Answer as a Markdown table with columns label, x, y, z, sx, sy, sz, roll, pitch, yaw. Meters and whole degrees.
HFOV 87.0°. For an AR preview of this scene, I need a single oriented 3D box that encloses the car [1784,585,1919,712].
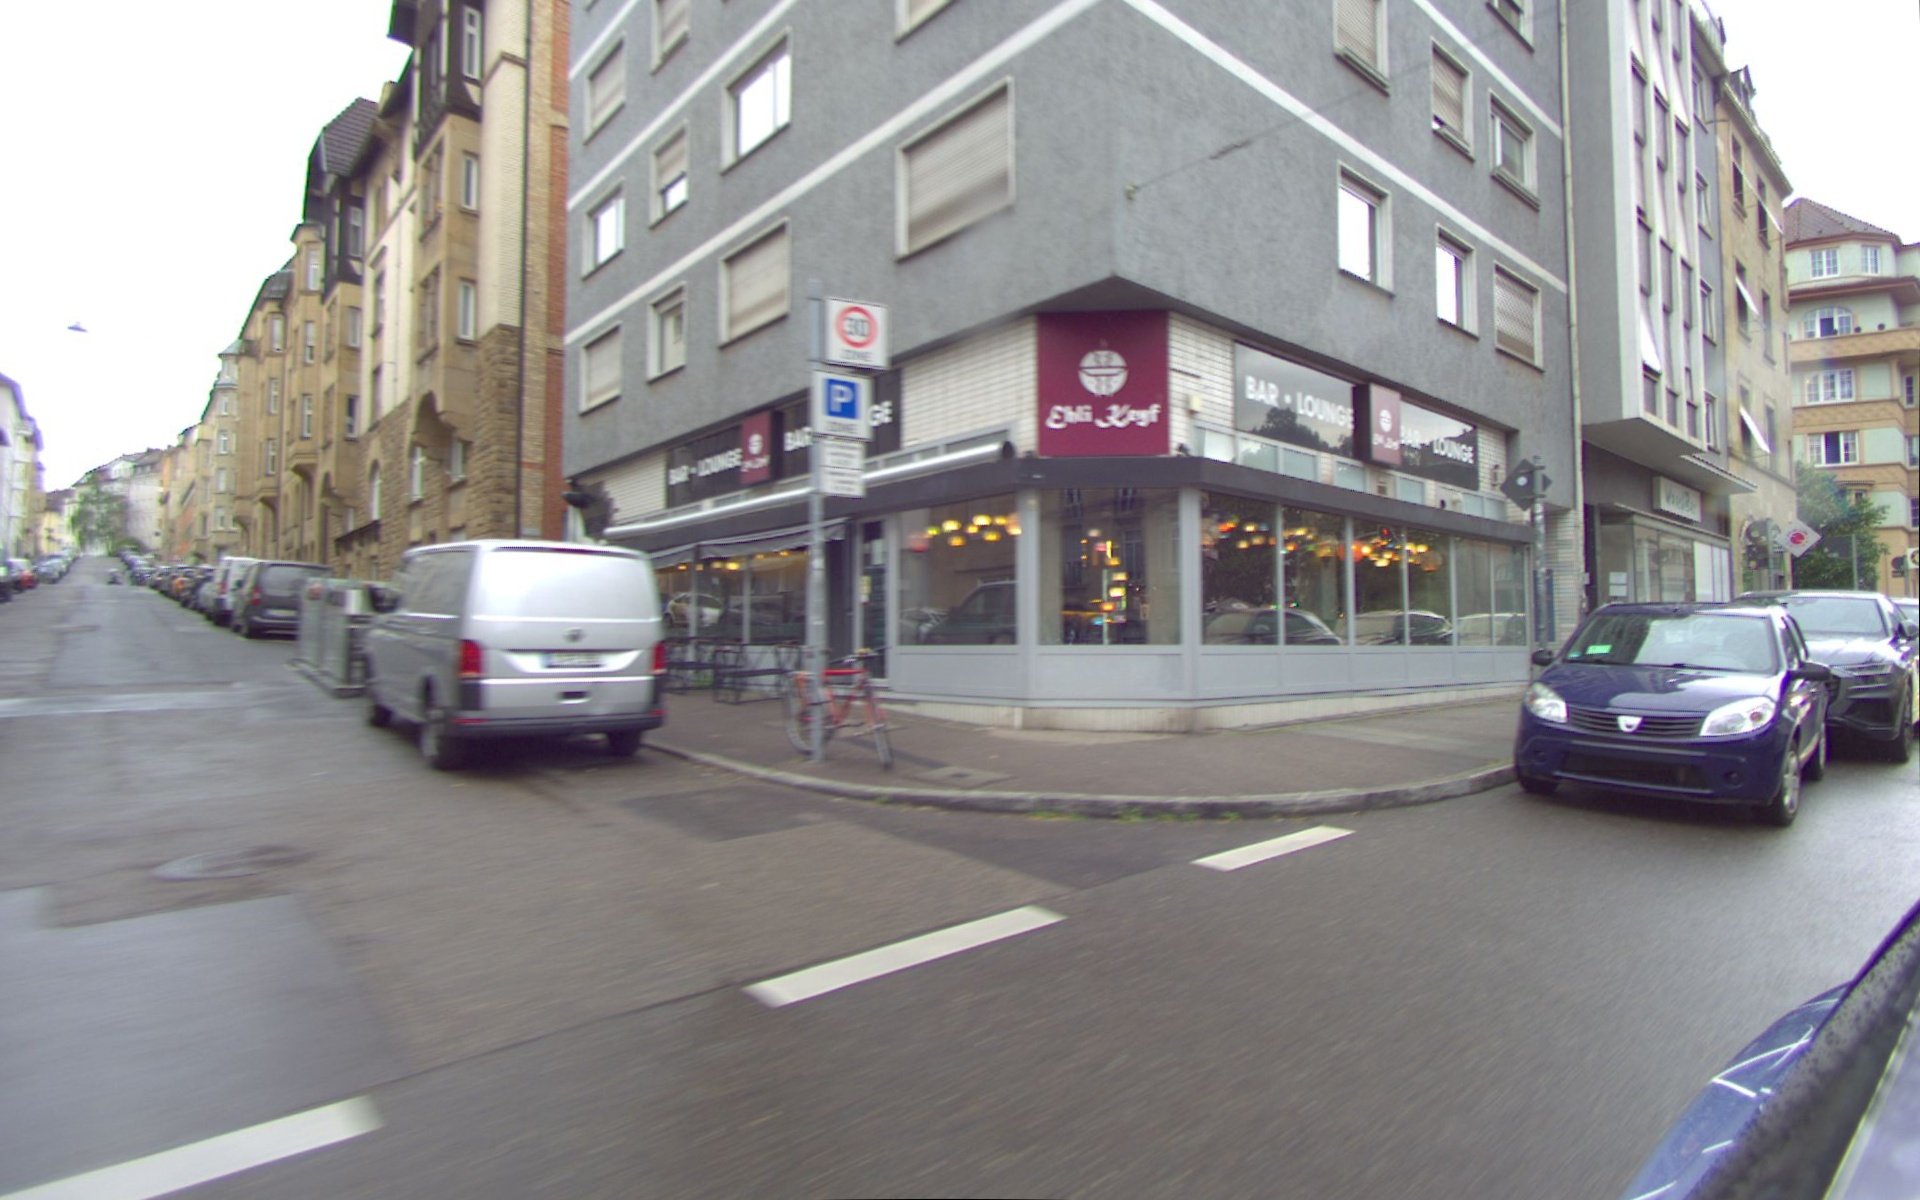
| label | x | y | z | sx | sy | sz | roll | pitch | yaw |
| --- | --- | --- | --- | --- | --- | --- | --- | --- | --- |
| car | 13.972 | 0.642 | 15.212 | 4.177 | 1.675 | 1.820 | 0 | 0 | -42 |

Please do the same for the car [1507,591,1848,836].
| label | x | y | z | sx | sy | sz | roll | pitch | yaw |
| --- | --- | --- | --- | --- | --- | --- | --- | --- | --- |
| car | 5.953 | 0.694 | 8.207 | 1.691 | 1.501 | 3.867 | 0 | 0 | 44 |

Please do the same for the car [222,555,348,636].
| label | x | y | z | sx | sy | sz | roll | pitch | yaw |
| --- | --- | --- | --- | --- | --- | --- | --- | --- | --- |
| car | -16.209 | -0.093 | 24.207 | 1.892 | 1.761 | 4.477 | 2 | -1 | -41 |

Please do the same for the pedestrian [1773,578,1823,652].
| label | x | y | z | sx | sy | sz | roll | pitch | yaw |
| --- | --- | --- | --- | --- | --- | --- | --- | --- | --- |
| pedestrian | 21.151 | 0.363 | 25.540 | 0.832 | 1.840 | 0.851 | 0 | 0 | -41 |

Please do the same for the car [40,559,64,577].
| label | x | y | z | sx | sy | sz | roll | pitch | yaw |
| --- | --- | --- | --- | --- | --- | --- | --- | --- | --- |
| car | -90.265 | -3.202 | 100.633 | 1.724 | 1.668 | 3.994 | 0 | 1 | -41 |

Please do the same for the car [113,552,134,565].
| label | x | y | z | sx | sy | sz | roll | pitch | yaw |
| --- | --- | --- | --- | --- | --- | --- | --- | --- | --- |
| car | -111.754 | -5.526 | 135.209 | 1.892 | 1.523 | 4.413 | 2 | -1 | -43 |

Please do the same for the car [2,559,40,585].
| label | x | y | z | sx | sy | sz | roll | pitch | yaw |
| --- | --- | --- | --- | --- | --- | --- | --- | --- | --- |
| car | -62.608 | -1.866 | 67.529 | 1.724 | 1.668 | 3.994 | 0 | 1 | -41 |

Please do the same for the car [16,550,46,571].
| label | x | y | z | sx | sy | sz | roll | pitch | yaw |
| --- | --- | --- | --- | --- | --- | --- | --- | --- | --- |
| car | -77.809 | -3.327 | 84.792 | 1.691 | 1.668 | 3.994 | 0 | 1 | -41 |

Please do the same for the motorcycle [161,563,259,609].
| label | x | y | z | sx | sy | sz | roll | pitch | yaw |
| --- | --- | --- | --- | --- | --- | --- | --- | --- | --- |
| motorcycle | -26.221 | -0.474 | 35.454 | 0.974 | 1.523 | 2.555 | 1 | -1 | 32 |

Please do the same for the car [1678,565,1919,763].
| label | x | y | z | sx | sy | sz | roll | pitch | yaw |
| --- | --- | --- | --- | --- | --- | --- | --- | --- | --- |
| car | 9.693 | 0.591 | 11.291 | 4.488 | 1.783 | 1.795 | 0 | -1 | -42 |

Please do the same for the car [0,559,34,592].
| label | x | y | z | sx | sy | sz | roll | pitch | yaw |
| --- | --- | --- | --- | --- | --- | --- | --- | --- | --- |
| car | -50.569 | -1.339 | 53.912 | 1.724 | 1.668 | 3.994 | 0 | 1 | -41 |

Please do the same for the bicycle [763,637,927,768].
| label | x | y | z | sx | sy | sz | roll | pitch | yaw |
| --- | --- | --- | --- | --- | --- | --- | --- | --- | --- |
| bicycle | -1.024 | 0.825 | 8.669 | 0.524 | 0.986 | 1.752 | 0 | -2 | -39 |

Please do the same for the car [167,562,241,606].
| label | x | y | z | sx | sy | sz | roll | pitch | yaw |
| --- | --- | --- | --- | --- | --- | --- | --- | --- | --- |
| car | -28.589 | -0.588 | 38.239 | 1.892 | 1.523 | 4.098 | 2 | -1 | -41 |

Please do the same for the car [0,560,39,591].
| label | x | y | z | sx | sy | sz | roll | pitch | yaw |
| --- | --- | --- | --- | --- | --- | --- | --- | --- | --- |
| car | -54.040 | -1.417 | 58.028 | 1.724 | 1.668 | 3.994 | 0 | 1 | -41 |

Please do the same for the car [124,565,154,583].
| label | x | y | z | sx | sy | sz | roll | pitch | yaw |
| --- | --- | --- | --- | --- | --- | --- | --- | --- | --- |
| car | -71.667 | -2.242 | 88.320 | 1.892 | 1.523 | 4.415 | 2 | -1 | -41 |

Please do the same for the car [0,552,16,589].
| label | x | y | z | sx | sy | sz | roll | pitch | yaw |
| --- | --- | --- | --- | --- | --- | --- | --- | --- | --- |
| car | -44.765 | -1.390 | 46.633 | 1.724 | 1.668 | 3.994 | 0 | 1 | -41 |

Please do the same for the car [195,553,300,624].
| label | x | y | z | sx | sy | sz | roll | pitch | yaw |
| --- | --- | --- | --- | --- | --- | --- | --- | --- | --- |
| car | -20.075 | -0.295 | 28.437 | 1.892 | 1.827 | 4.477 | 2 | -1 | -41 |

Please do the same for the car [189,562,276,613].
| label | x | y | z | sx | sy | sz | roll | pitch | yaw |
| --- | --- | --- | --- | --- | --- | --- | --- | --- | --- |
| car | -23.979 | -0.397 | 33.303 | 1.892 | 1.523 | 4.098 | 2 | -1 | -41 |

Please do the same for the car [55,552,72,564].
| label | x | y | z | sx | sy | sz | roll | pitch | yaw |
| --- | --- | --- | --- | --- | --- | --- | --- | --- | --- |
| car | -128.069 | -5.987 | 144.579 | 1.724 | 1.668 | 3.994 | 0 | 1 | -41 |

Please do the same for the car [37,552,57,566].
| label | x | y | z | sx | sy | sz | roll | pitch | yaw |
| --- | --- | --- | --- | --- | --- | --- | --- | --- | --- |
| car | -107.538 | -4.830 | 119.207 | 1.724 | 1.668 | 3.994 | 0 | 1 | -41 |

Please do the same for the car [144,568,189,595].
| label | x | y | z | sx | sy | sz | roll | pitch | yaw |
| --- | --- | --- | --- | --- | --- | --- | --- | --- | --- |
| car | -47.992 | -1.117 | 61.211 | 1.892 | 1.523 | 4.098 | 2 | -1 | -41 |

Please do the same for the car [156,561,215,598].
| label | x | y | z | sx | sy | sz | roll | pitch | yaw |
| --- | --- | --- | --- | --- | --- | --- | --- | --- | --- |
| car | -34.465 | -0.878 | 44.982 | 1.793 | 1.523 | 4.098 | 2 | -1 | -41 |

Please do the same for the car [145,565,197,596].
| label | x | y | z | sx | sy | sz | roll | pitch | yaw |
| --- | --- | --- | --- | --- | --- | --- | --- | --- | --- |
| car | -40.874 | -0.991 | 52.397 | 1.892 | 1.523 | 4.098 | 2 | -1 | -41 |

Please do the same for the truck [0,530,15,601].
| label | x | y | z | sx | sy | sz | roll | pitch | yaw |
| --- | --- | --- | --- | --- | --- | --- | --- | --- | --- |
| truck | -37.178 | -1.338 | 38.308 | 1.830 | 2.554 | 6.710 | 0 | 1 | -41 |

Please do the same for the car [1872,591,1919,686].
| label | x | y | z | sx | sy | sz | roll | pitch | yaw |
| --- | --- | --- | --- | --- | --- | --- | --- | --- | --- |
| car | 18.487 | 0.680 | 18.895 | 4.441 | 1.634 | 1.713 | 0 | 0 | -42 |

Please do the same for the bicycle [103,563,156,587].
| label | x | y | z | sx | sy | sz | roll | pitch | yaw |
| --- | --- | --- | --- | --- | --- | --- | --- | --- | --- |
| bicycle | -57.484 | -1.748 | 70.072 | 2.794 | 1.615 | 0.960 | -1 | 0 | -43 |
